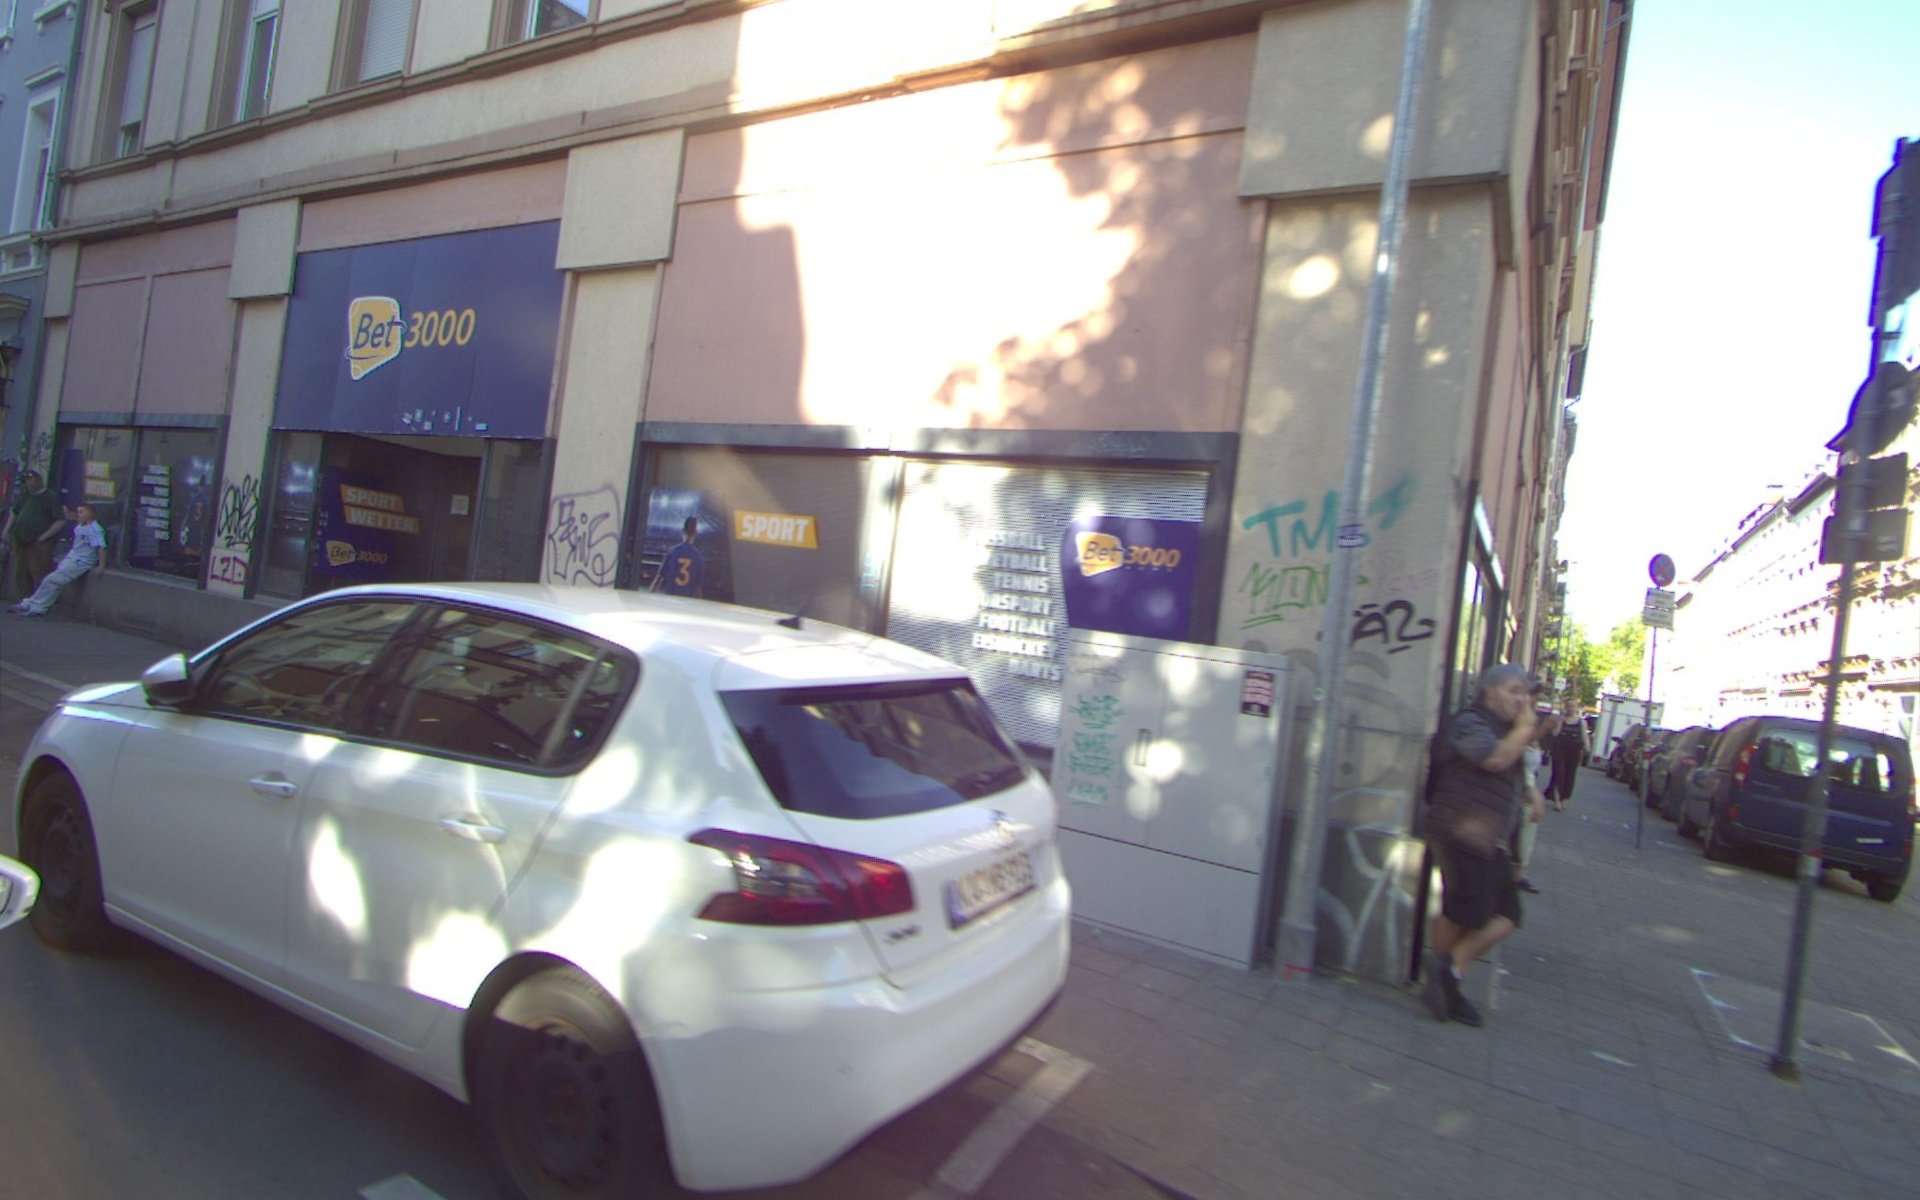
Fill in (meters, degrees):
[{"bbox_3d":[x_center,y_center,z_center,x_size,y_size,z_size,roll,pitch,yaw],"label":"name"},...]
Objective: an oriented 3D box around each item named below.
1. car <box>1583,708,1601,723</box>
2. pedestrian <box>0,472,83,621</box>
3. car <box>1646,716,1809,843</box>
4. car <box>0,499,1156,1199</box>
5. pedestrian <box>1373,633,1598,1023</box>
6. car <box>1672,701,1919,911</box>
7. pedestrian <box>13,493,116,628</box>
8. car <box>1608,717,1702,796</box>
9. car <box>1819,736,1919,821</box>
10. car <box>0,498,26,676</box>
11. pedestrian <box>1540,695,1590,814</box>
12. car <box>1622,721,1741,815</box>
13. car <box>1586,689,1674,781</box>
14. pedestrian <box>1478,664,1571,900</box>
[{"bbox_3d":[94.523,17.354,150.523,1.966,1.936,3.997,6,-3,30],"label":"car"},{"bbox_3d":[-11.731,-0.667,12.650,0.646,1.760,0.631,7,-2,18],"label":"pedestrian"},{"bbox_3d":[12.802,2.897,17.003,1.560,1.630,3.937,6,-2,30],"label":"car"},{"bbox_3d":[-1.602,0.658,3.652,4.065,1.533,1.792,6,-3,28],"label":"car"},{"bbox_3d":[2.449,1.039,4.708,0.594,1.670,0.461,8,1,-28],"label":"pedestrian"},{"bbox_3d":[10.369,2.365,12.545,1.836,1.862,3.933,10,0,31],"label":"car"},{"bbox_3d":[-11.045,-0.483,12.415,0.647,1.547,0.589,6,-2,25],"label":"pedestrian"},{"bbox_3d":[17.727,3.929,25.789,1.560,1.624,3.581,6,-2,30],"label":"car"},{"bbox_3d":[24.596,4.717,26.809,1.702,1.892,3.942,6,-3,30],"label":"car"},{"bbox_3d":[-9.824,-0.276,8.611,3.494,1.590,1.610,6,-3,30],"label":"car"},{"bbox_3d":[9.080,2.292,15.102,0.457,1.676,0.843,7,0,32],"label":"pedestrian"},{"bbox_3d":[15.490,3.536,21.771,1.560,1.541,4.048,6,-2,30],"label":"car"},{"bbox_3d":[20.290,4.048,30.599,1.806,2.408,3.421,6,-2,30],"label":"car"},{"bbox_3d":[4.532,1.428,8.088,0.467,1.746,0.692,6,-2,30],"label":"pedestrian"}]
